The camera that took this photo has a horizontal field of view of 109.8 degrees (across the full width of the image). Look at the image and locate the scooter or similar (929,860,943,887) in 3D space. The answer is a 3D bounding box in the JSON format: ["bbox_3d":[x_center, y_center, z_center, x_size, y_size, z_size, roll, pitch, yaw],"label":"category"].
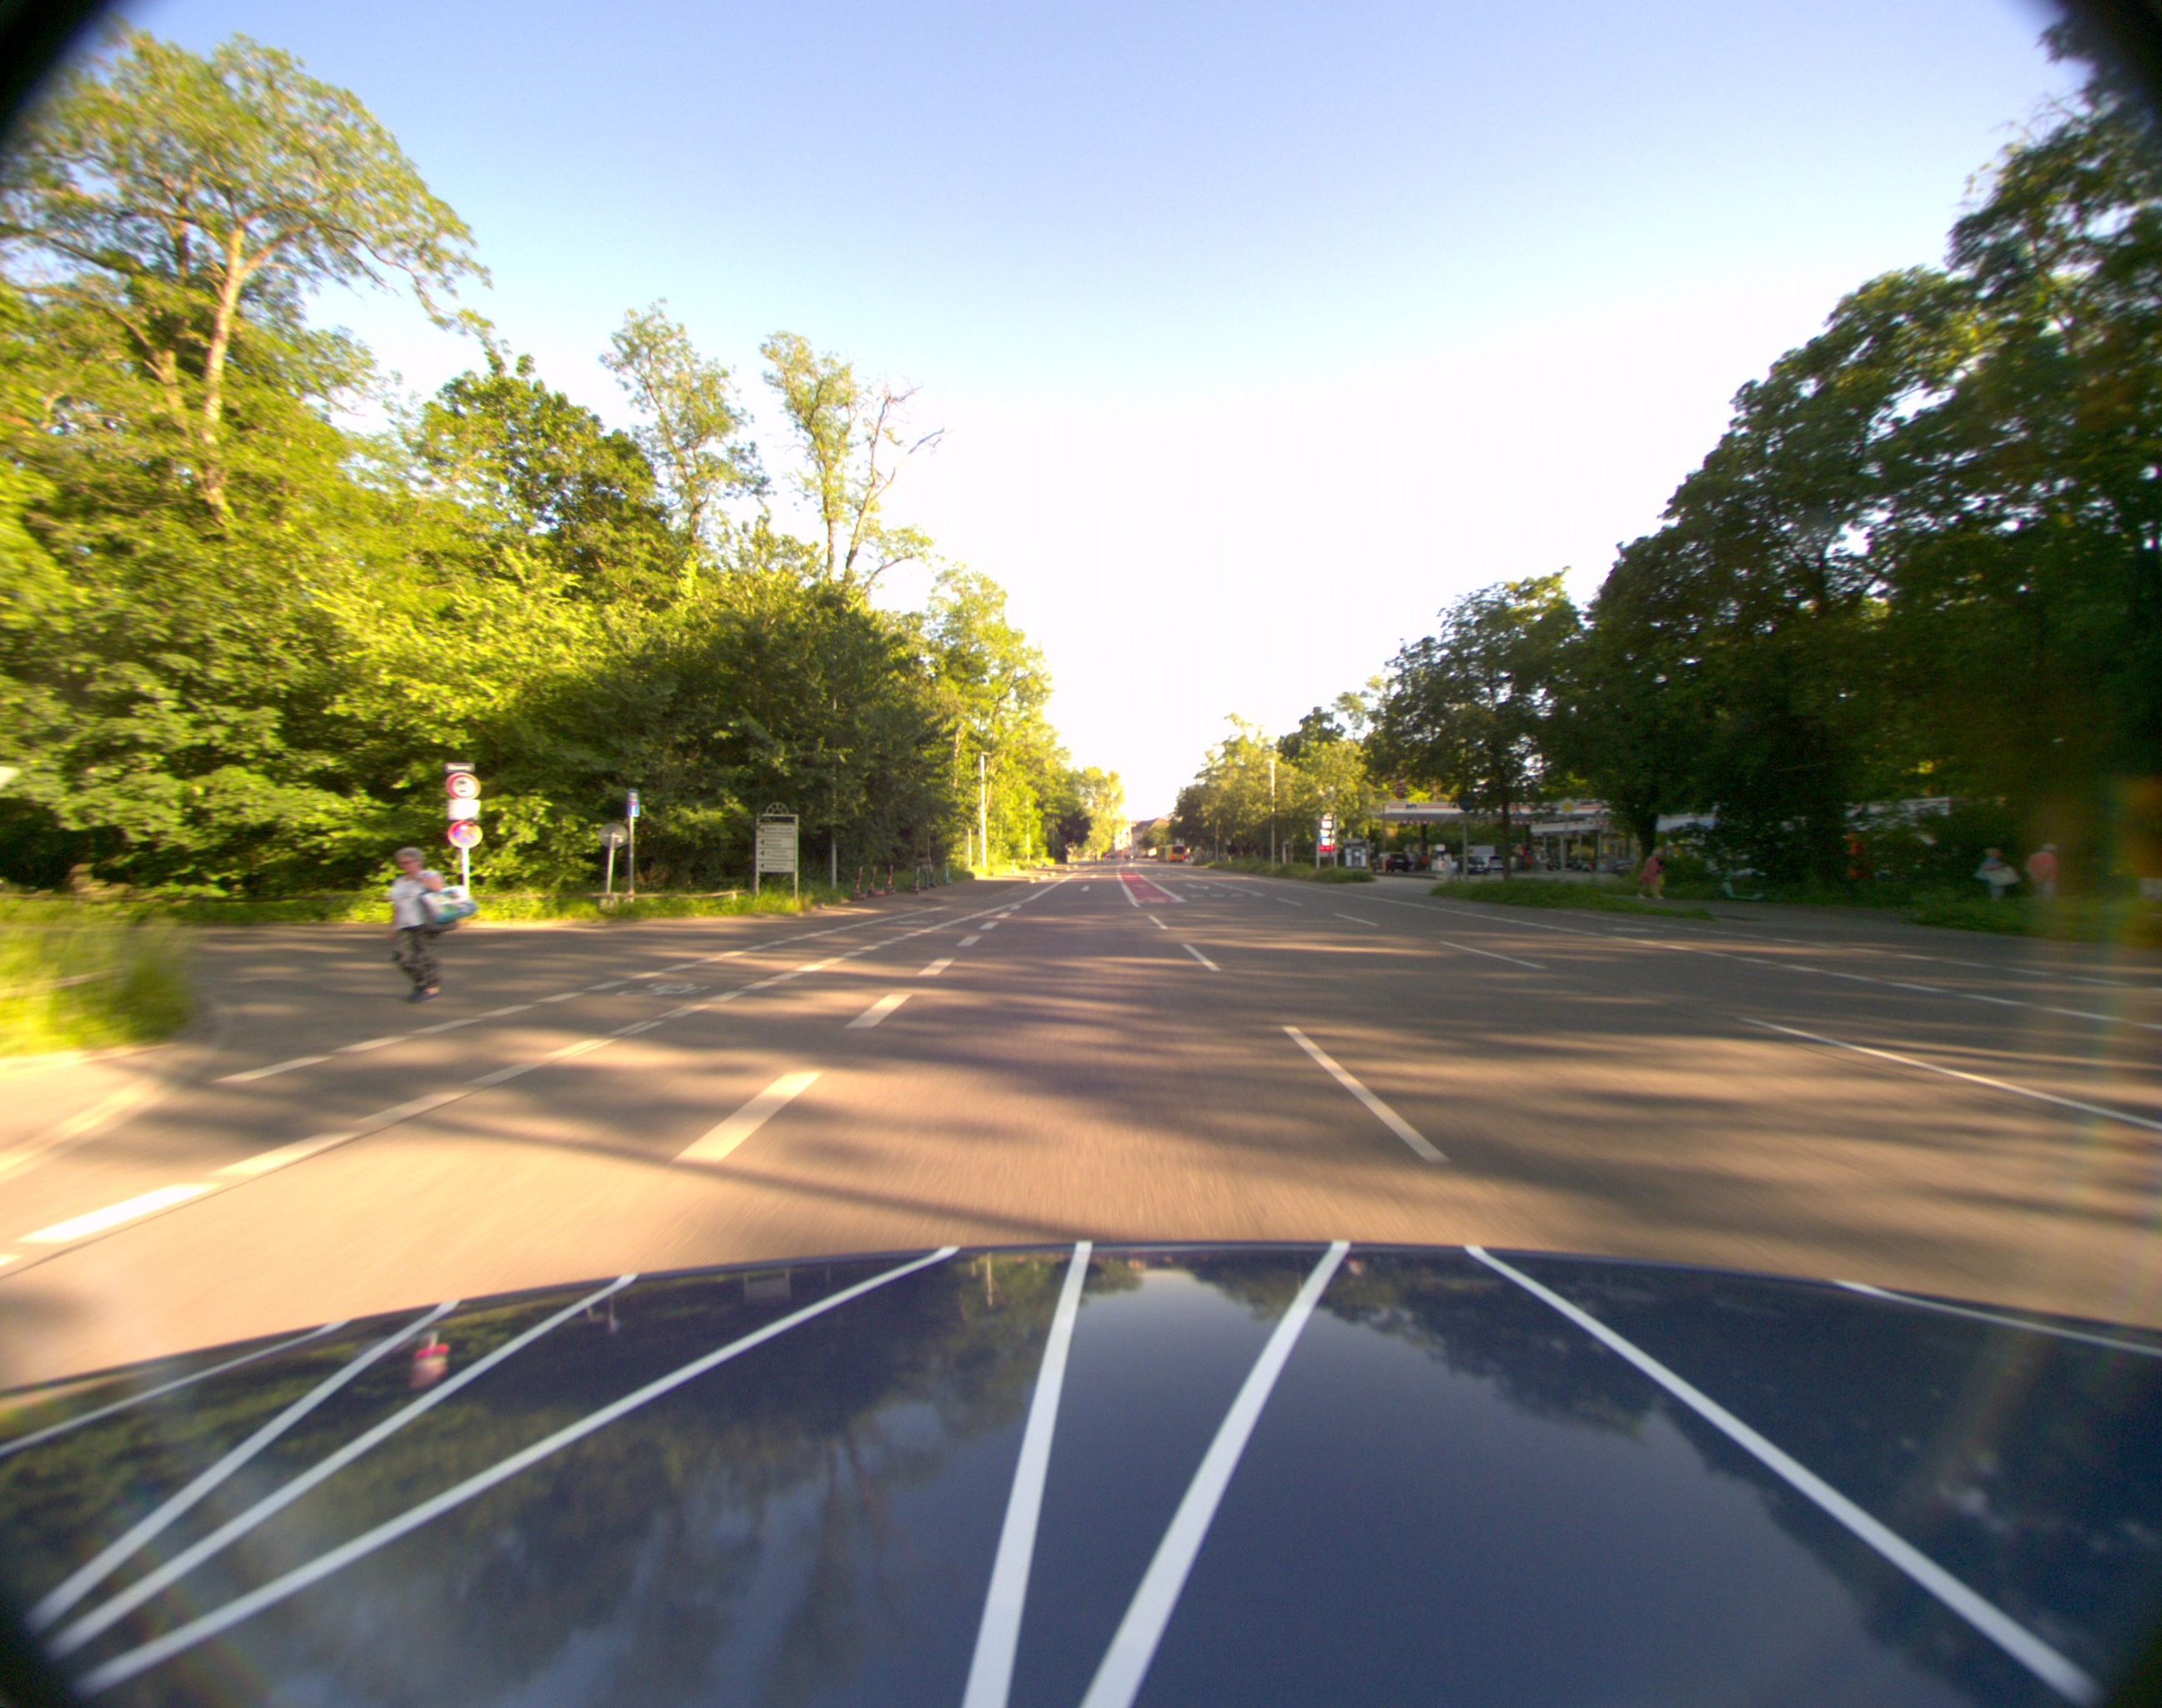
[{"bbox_3d":[-6.474,0.855,33.982,0.386,1.177,1.103,0,1,1],"label":"scooter or similar"}]

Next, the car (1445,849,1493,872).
[{"bbox_3d":[28.956,0.480,56.799,1.758,1.631,3.838,0,1,3],"label":"car"}]

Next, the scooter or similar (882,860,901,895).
[{"bbox_3d":[-6.685,0.818,26.872,0.386,1.177,1.103,0,1,1],"label":"scooter or similar"}]

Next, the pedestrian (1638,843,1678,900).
[{"bbox_3d":[18.650,0.546,24.568,0.738,1.809,0.832,-1,1,-36],"label":"pedestrian"}]

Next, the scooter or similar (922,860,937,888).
[{"bbox_3d":[-6.439,0.840,32.341,0.386,1.177,1.103,0,1,1],"label":"scooter or similar"}]

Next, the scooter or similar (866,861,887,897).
[{"bbox_3d":[-6.901,0.845,25.677,0.386,1.177,1.103,0,1,1],"label":"scooter or similar"}]

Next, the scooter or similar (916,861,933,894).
[{"bbox_3d":[-5.947,0.879,28.837,0.386,1.177,1.103,0,1,1],"label":"scooter or similar"}]

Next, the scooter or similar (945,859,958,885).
[{"bbox_3d":[-6.115,0.849,35.931,0.386,1.177,1.103,0,1,1],"label":"scooter or similar"}]

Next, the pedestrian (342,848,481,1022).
[{"bbox_3d":[-7.139,0.830,8.141,0.809,1.789,0.734,0,1,0],"label":"pedestrian"}]

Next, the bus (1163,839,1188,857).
[{"bbox_3d":[18.253,-1.140,147.744,3.038,3.388,9.477,0,1,-4],"label":"bus"}]

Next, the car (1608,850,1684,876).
[{"bbox_3d":[36.511,0.592,49.174,3.609,1.631,1.760,0,1,1],"label":"car"}]

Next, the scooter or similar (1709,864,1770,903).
[{"bbox_3d":[20.087,0.888,23.205,0.465,1.125,1.342,0,1,-24],"label":"scooter or similar"}]

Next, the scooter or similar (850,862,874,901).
[{"bbox_3d":[-6.900,0.868,23.968,0.386,1.177,1.188,0,1,1],"label":"scooter or similar"}]

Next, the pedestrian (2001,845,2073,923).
[{"bbox_3d":[22.709,0.692,18.070,0.832,1.809,0.738,1,1,31],"label":"pedestrian"}]

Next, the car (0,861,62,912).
[{"bbox_3d":[-30.272,0.922,20.063,1.614,1.369,3.737,-1,1,1],"label":"car"}]

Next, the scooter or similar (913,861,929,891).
[{"bbox_3d":[-6.415,0.866,30.407,0.386,1.177,1.103,0,1,1],"label":"scooter or similar"}]

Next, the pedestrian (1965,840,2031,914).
[{"bbox_3d":[22.994,0.556,19.074,0.832,1.809,0.738,1,1,31],"label":"pedestrian"}]

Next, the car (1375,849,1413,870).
[{"bbox_3d":[25.271,0.400,61.401,1.758,1.631,3.613,0,1,3],"label":"car"}]
